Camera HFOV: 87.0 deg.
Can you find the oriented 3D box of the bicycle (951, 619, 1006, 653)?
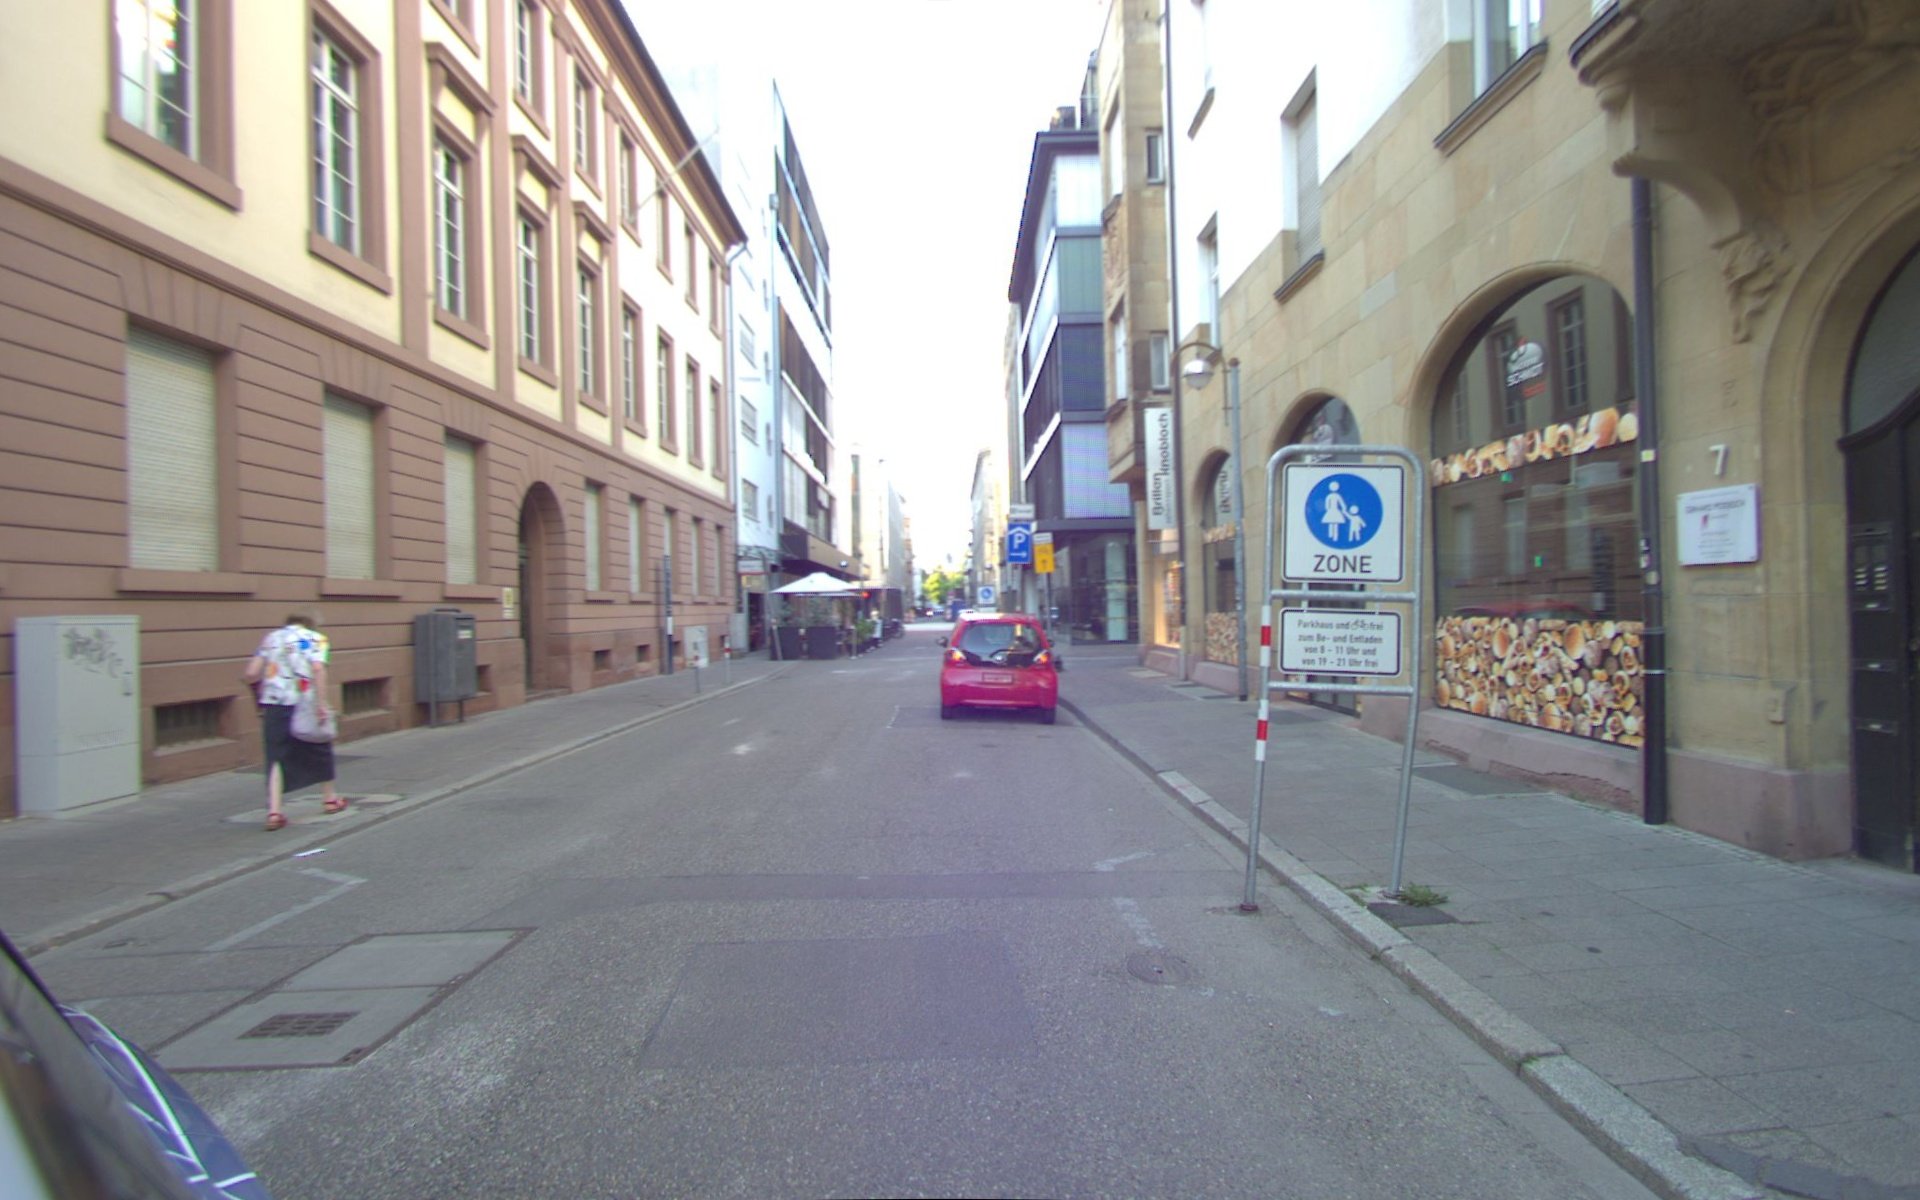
[{"bbox_3d":[0.670,1.303,36.688,1.927,1.139,0.620,-2,-1,1],"label":"bicycle"}]

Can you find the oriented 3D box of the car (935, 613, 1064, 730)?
[{"bbox_3d":[0.509,0.950,14.739,1.616,1.452,3.156,2,-1,0],"label":"car"}]

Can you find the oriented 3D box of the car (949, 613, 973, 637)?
[{"bbox_3d":[0.026,1.546,64.148,1.406,1.428,3.895,-2,-1,-1],"label":"car"}]

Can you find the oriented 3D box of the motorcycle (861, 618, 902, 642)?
[{"bbox_3d":[-4.329,1.649,55.846,2.165,1.292,0.651,0,-1,2],"label":"motorcycle"}]

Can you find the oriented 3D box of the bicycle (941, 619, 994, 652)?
[{"bbox_3d":[0.282,1.324,37.638,1.927,1.139,0.620,-2,-1,1],"label":"bicycle"}]

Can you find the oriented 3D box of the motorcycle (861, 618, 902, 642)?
[{"bbox_3d":[-4.269,1.636,54.882,2.165,1.292,0.651,0,-1,2],"label":"motorcycle"}]

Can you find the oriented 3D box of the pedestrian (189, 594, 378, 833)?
[{"bbox_3d":[-5.052,0.806,7.625,0.800,1.684,0.931,0,-1,-2],"label":"pedestrian"}]

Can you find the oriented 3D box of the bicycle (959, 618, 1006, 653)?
[{"bbox_3d":[0.775,1.229,35.125,1.586,1.127,0.620,-2,-1,1],"label":"bicycle"}]

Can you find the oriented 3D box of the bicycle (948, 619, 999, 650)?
[{"bbox_3d":[0.523,1.352,39.423,1.927,1.139,0.526,-2,-1,1],"label":"bicycle"}]

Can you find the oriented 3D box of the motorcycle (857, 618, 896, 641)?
[{"bbox_3d":[-4.744,1.681,57.570,2.165,1.292,0.651,0,-1,2],"label":"motorcycle"}]

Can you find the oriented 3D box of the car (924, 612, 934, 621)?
[{"bbox_3d":[-4.175,2.220,136.515,1.406,1.104,3.563,-2,-1,-1],"label":"car"}]
